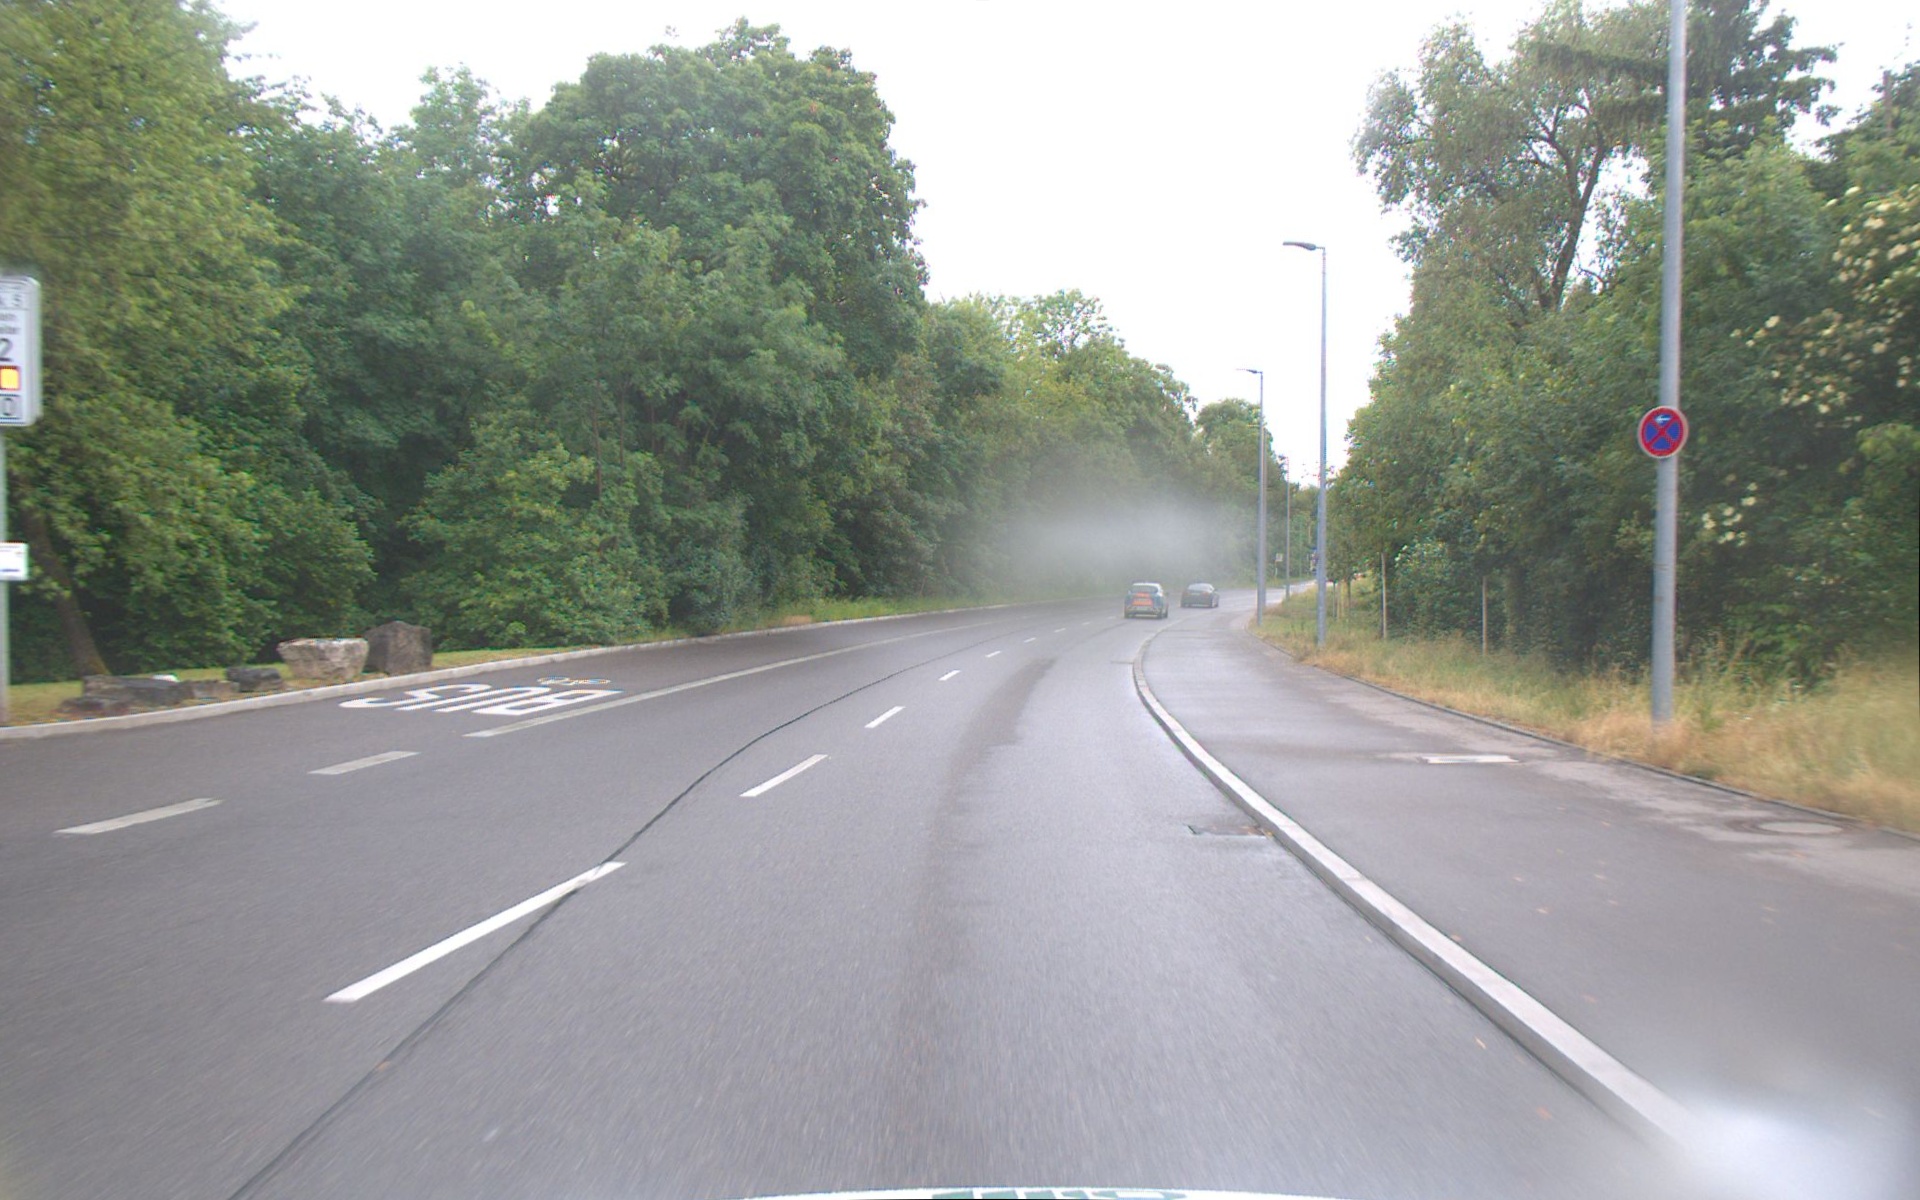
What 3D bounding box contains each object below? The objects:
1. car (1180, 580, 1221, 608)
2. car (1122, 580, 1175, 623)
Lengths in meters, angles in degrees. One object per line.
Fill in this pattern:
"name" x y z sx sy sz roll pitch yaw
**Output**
"car" 13.951 -0.355 95.812 1.886 1.512 3.803 0 2 16
"car" 8.505 0.045 74.400 1.951 1.718 4.004 -1 2 12
